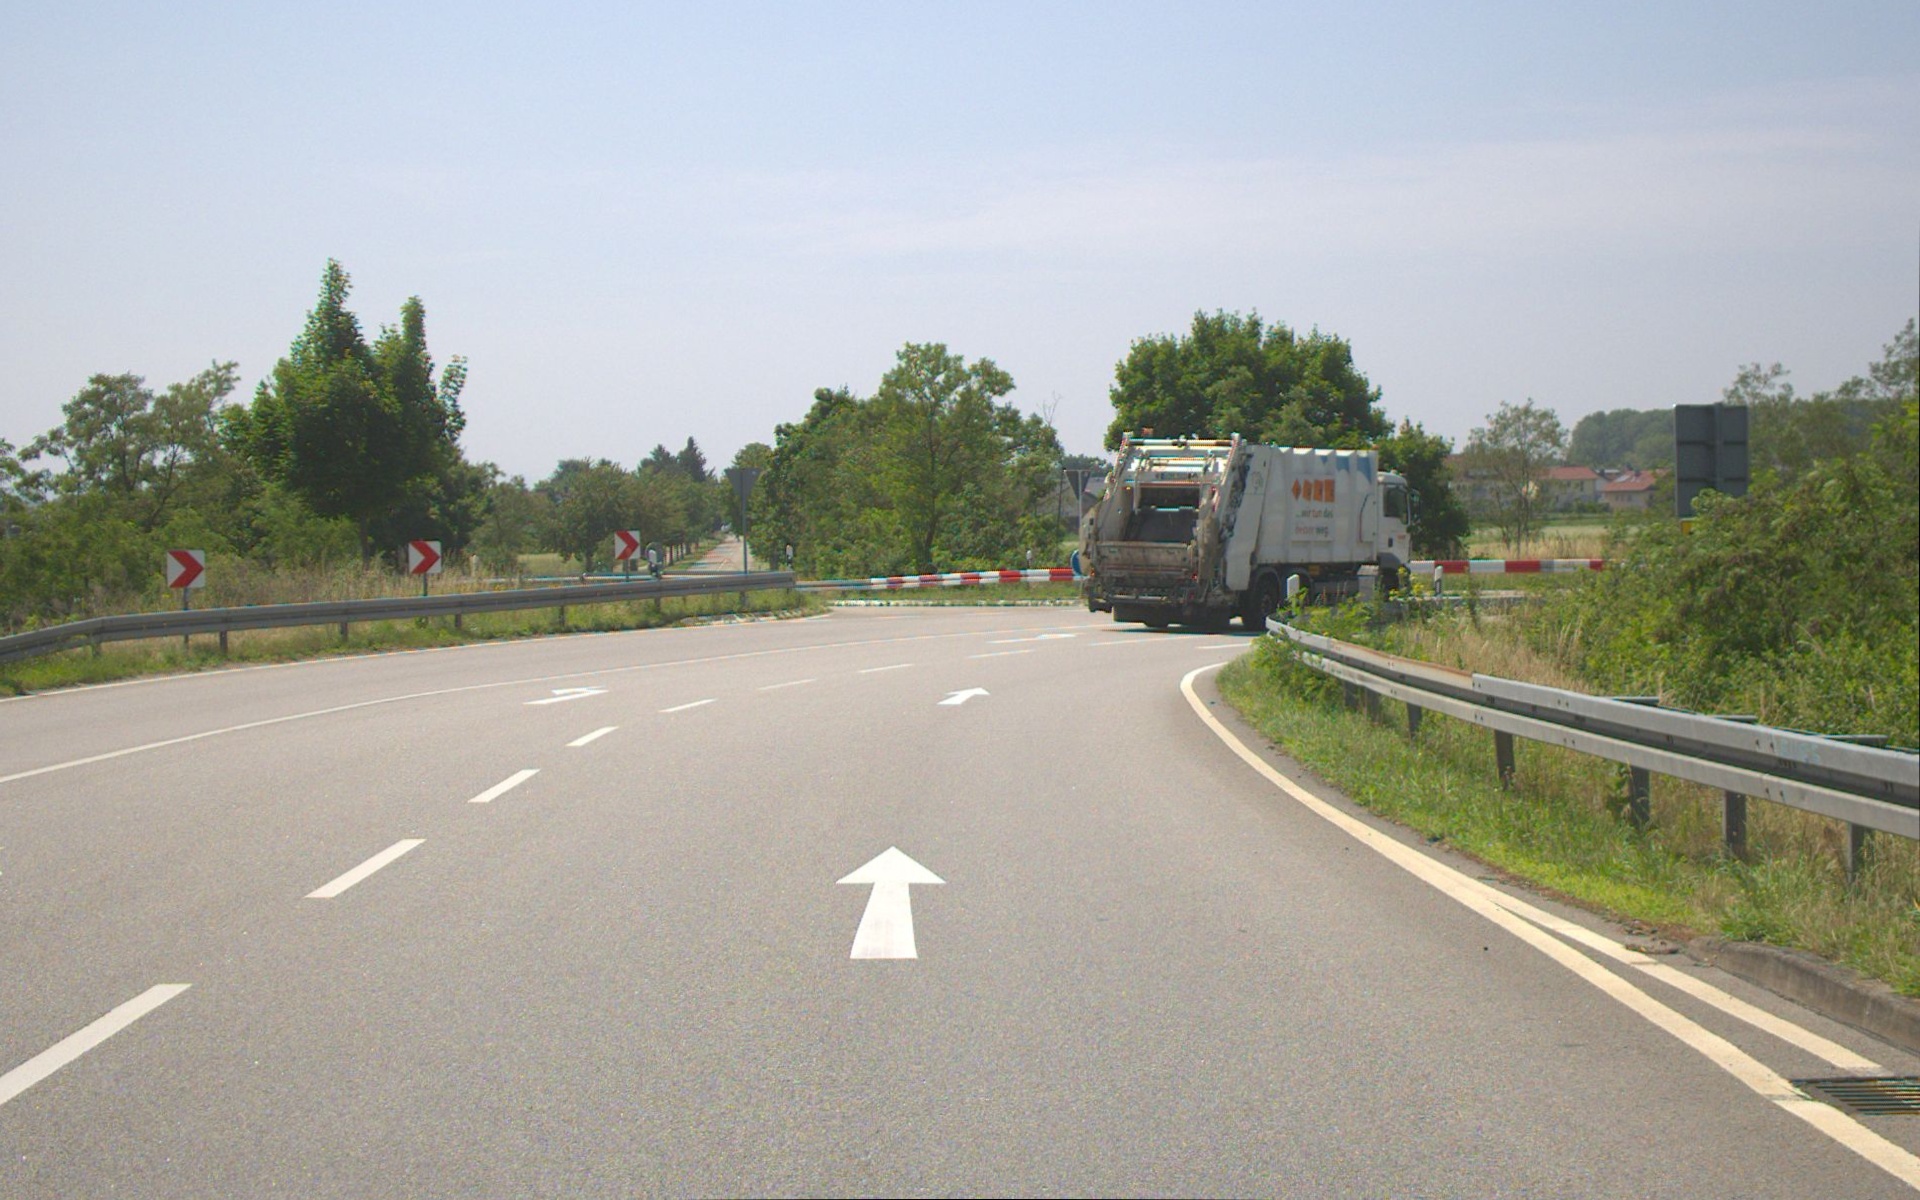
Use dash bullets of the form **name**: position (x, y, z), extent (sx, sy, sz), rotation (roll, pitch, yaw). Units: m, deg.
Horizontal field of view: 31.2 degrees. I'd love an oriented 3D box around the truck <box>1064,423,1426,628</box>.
- **truck**: position (5.689, -1.390, 66.340), extent (2.818, 3.656, 9.930), rotation (1, 1, 31)
